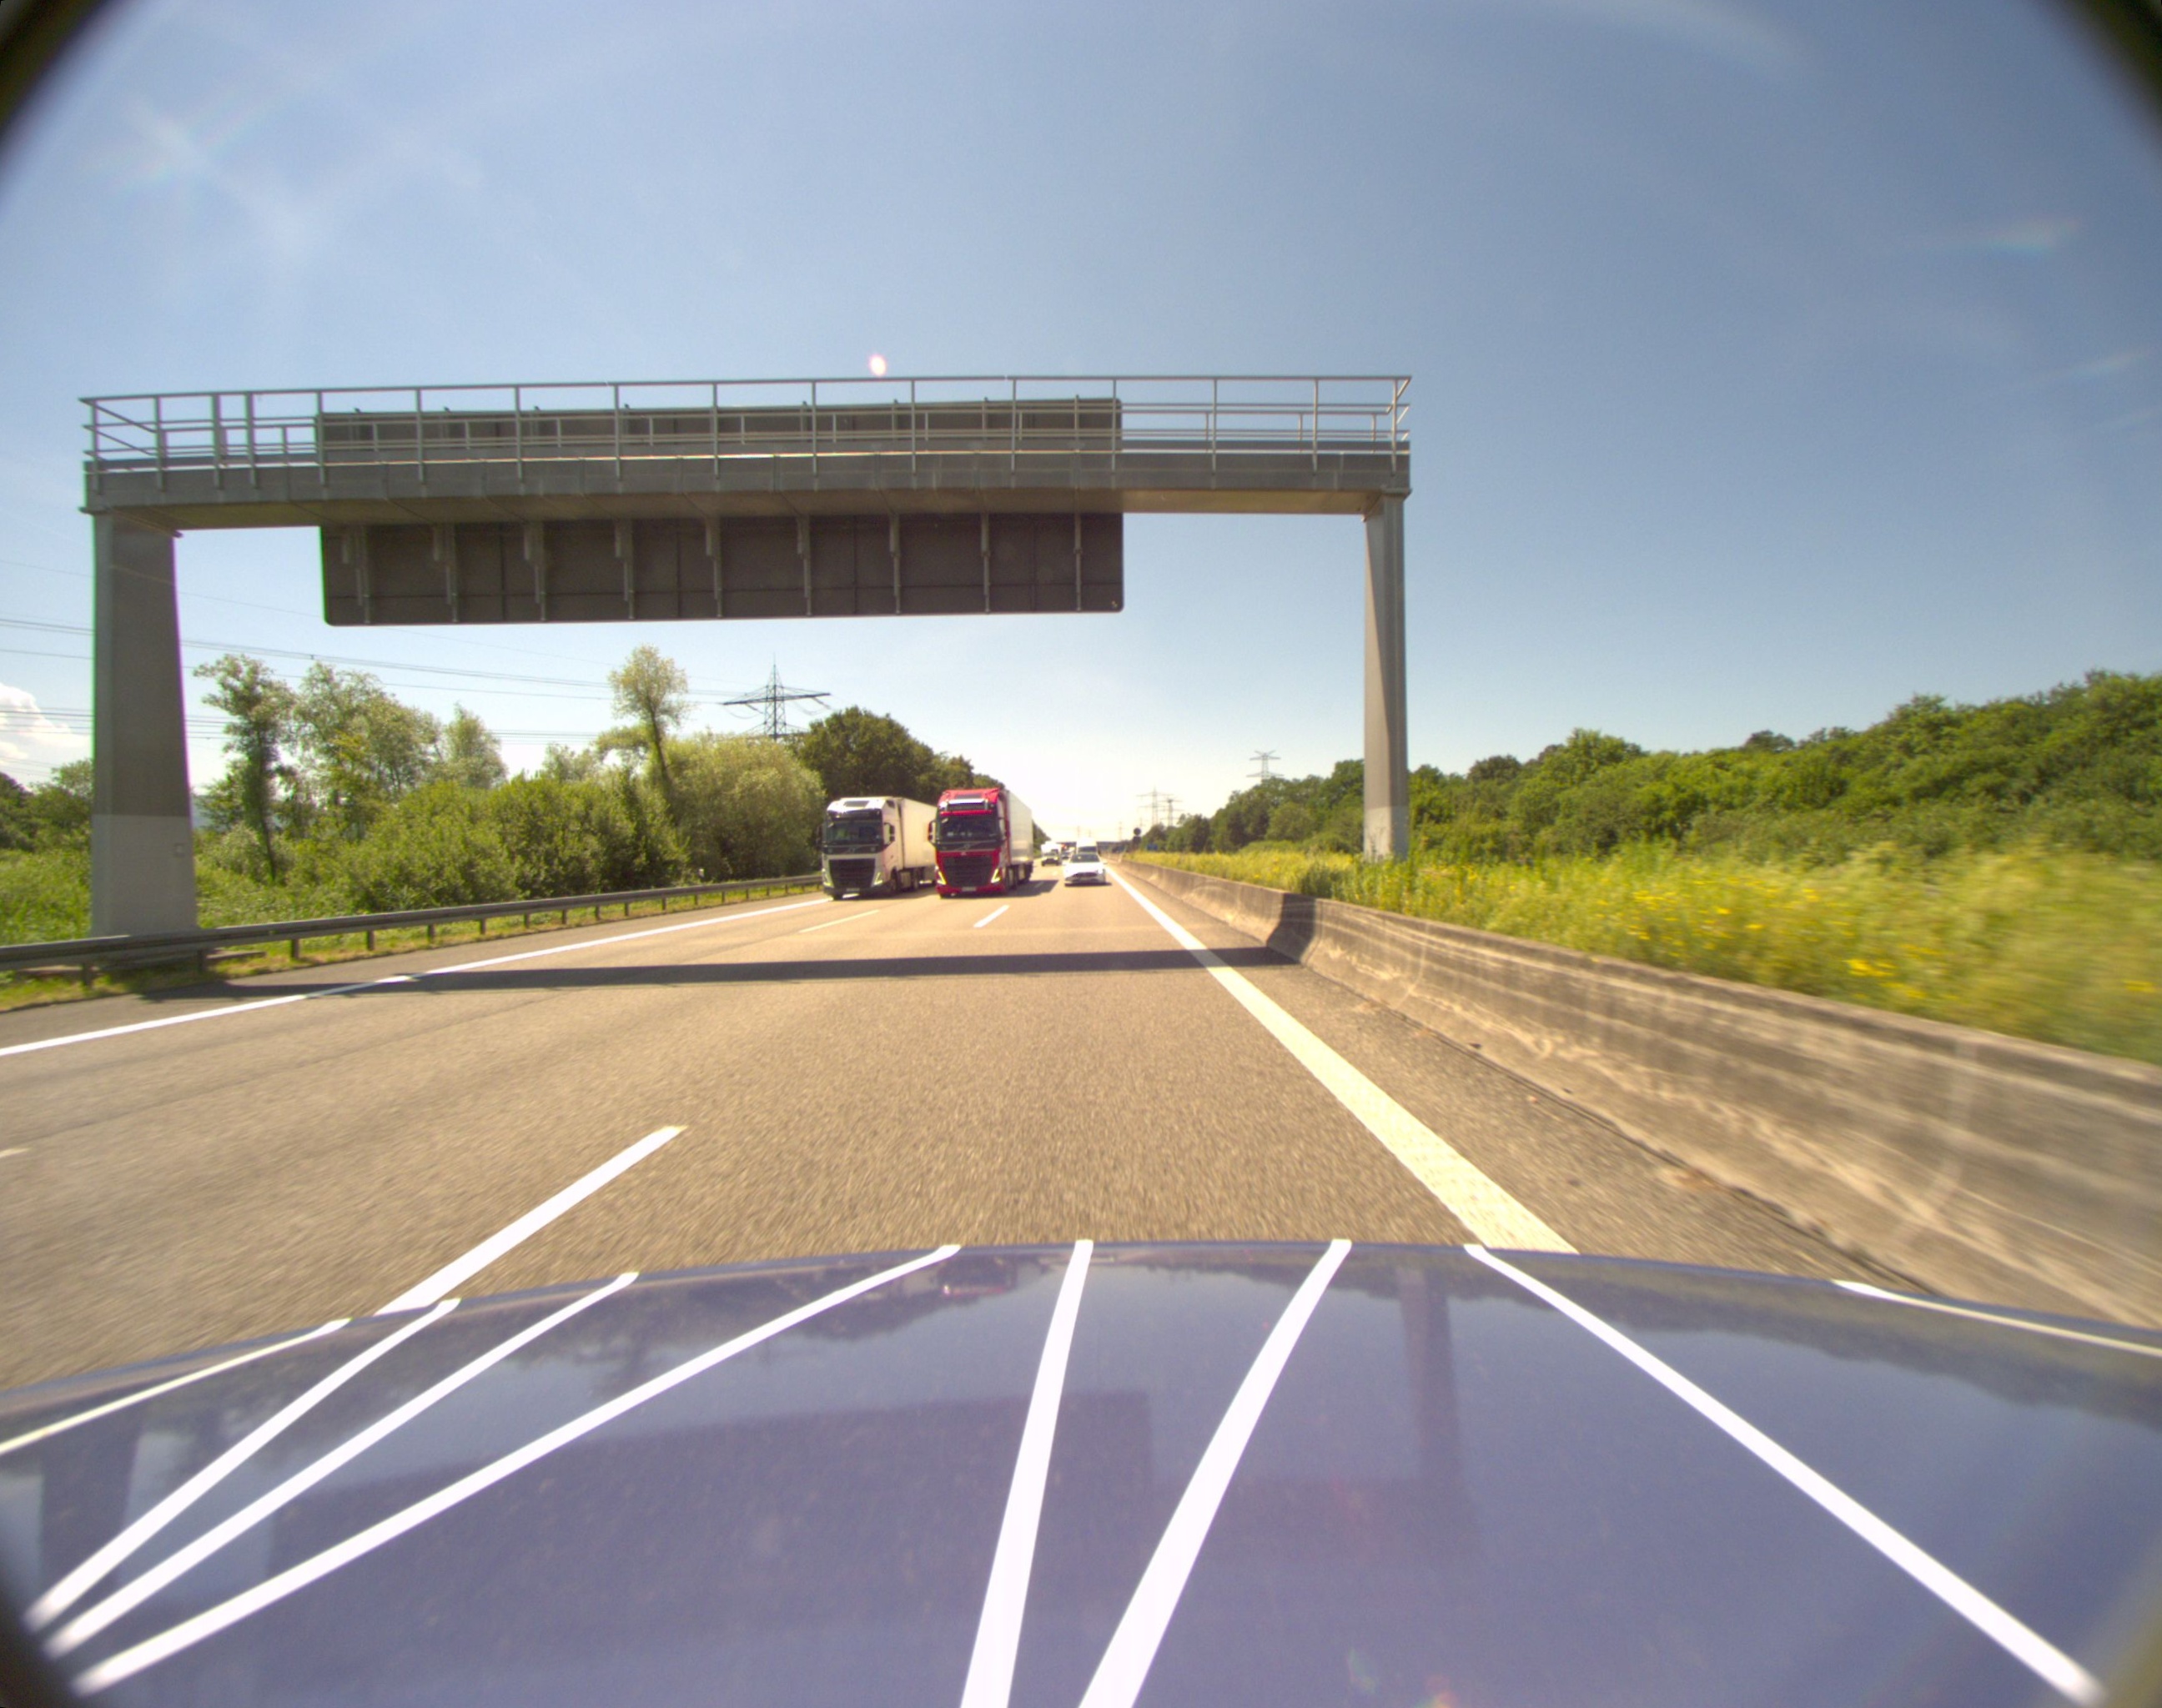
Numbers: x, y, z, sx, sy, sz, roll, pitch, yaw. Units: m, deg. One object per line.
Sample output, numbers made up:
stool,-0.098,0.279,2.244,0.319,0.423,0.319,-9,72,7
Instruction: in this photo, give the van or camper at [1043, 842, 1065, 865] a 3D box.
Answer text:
van or camper,-3.152,-0.082,90.291,2.411,2.483,6.431,-2,0,0

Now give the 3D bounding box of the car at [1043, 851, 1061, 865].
car,-3.183,0.423,85.012,1.788,1.520,4.104,-2,0,0

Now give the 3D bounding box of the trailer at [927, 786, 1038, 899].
trailer,-4.018,-0.504,35.533,2.945,3.994,16.197,-2,1,0

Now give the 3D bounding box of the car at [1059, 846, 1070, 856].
car,-3.118,-0.552,141.375,1.904,1.662,3.999,-2,0,0

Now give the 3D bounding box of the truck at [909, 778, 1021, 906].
truck,-3.965,-0.415,27.414,2.948,3.963,6.100,-2,1,0

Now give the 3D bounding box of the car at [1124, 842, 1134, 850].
car,11.245,-1.865,179.306,1.998,2.002,6.222,1,0,0

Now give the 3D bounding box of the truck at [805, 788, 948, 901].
truck,-8.551,-0.417,33.707,3.033,4.069,10.976,-2,1,1

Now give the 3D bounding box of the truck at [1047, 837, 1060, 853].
truck,-6.621,-2.076,182.281,2.584,3.704,8.278,-2,1,0

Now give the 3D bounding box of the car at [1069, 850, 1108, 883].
car,0.366,0.584,37.859,1.788,1.462,3.999,-2,1,0

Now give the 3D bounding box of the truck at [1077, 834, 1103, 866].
truck,0.803,-0.359,70.829,2.192,2.841,5.503,-2,0,0
